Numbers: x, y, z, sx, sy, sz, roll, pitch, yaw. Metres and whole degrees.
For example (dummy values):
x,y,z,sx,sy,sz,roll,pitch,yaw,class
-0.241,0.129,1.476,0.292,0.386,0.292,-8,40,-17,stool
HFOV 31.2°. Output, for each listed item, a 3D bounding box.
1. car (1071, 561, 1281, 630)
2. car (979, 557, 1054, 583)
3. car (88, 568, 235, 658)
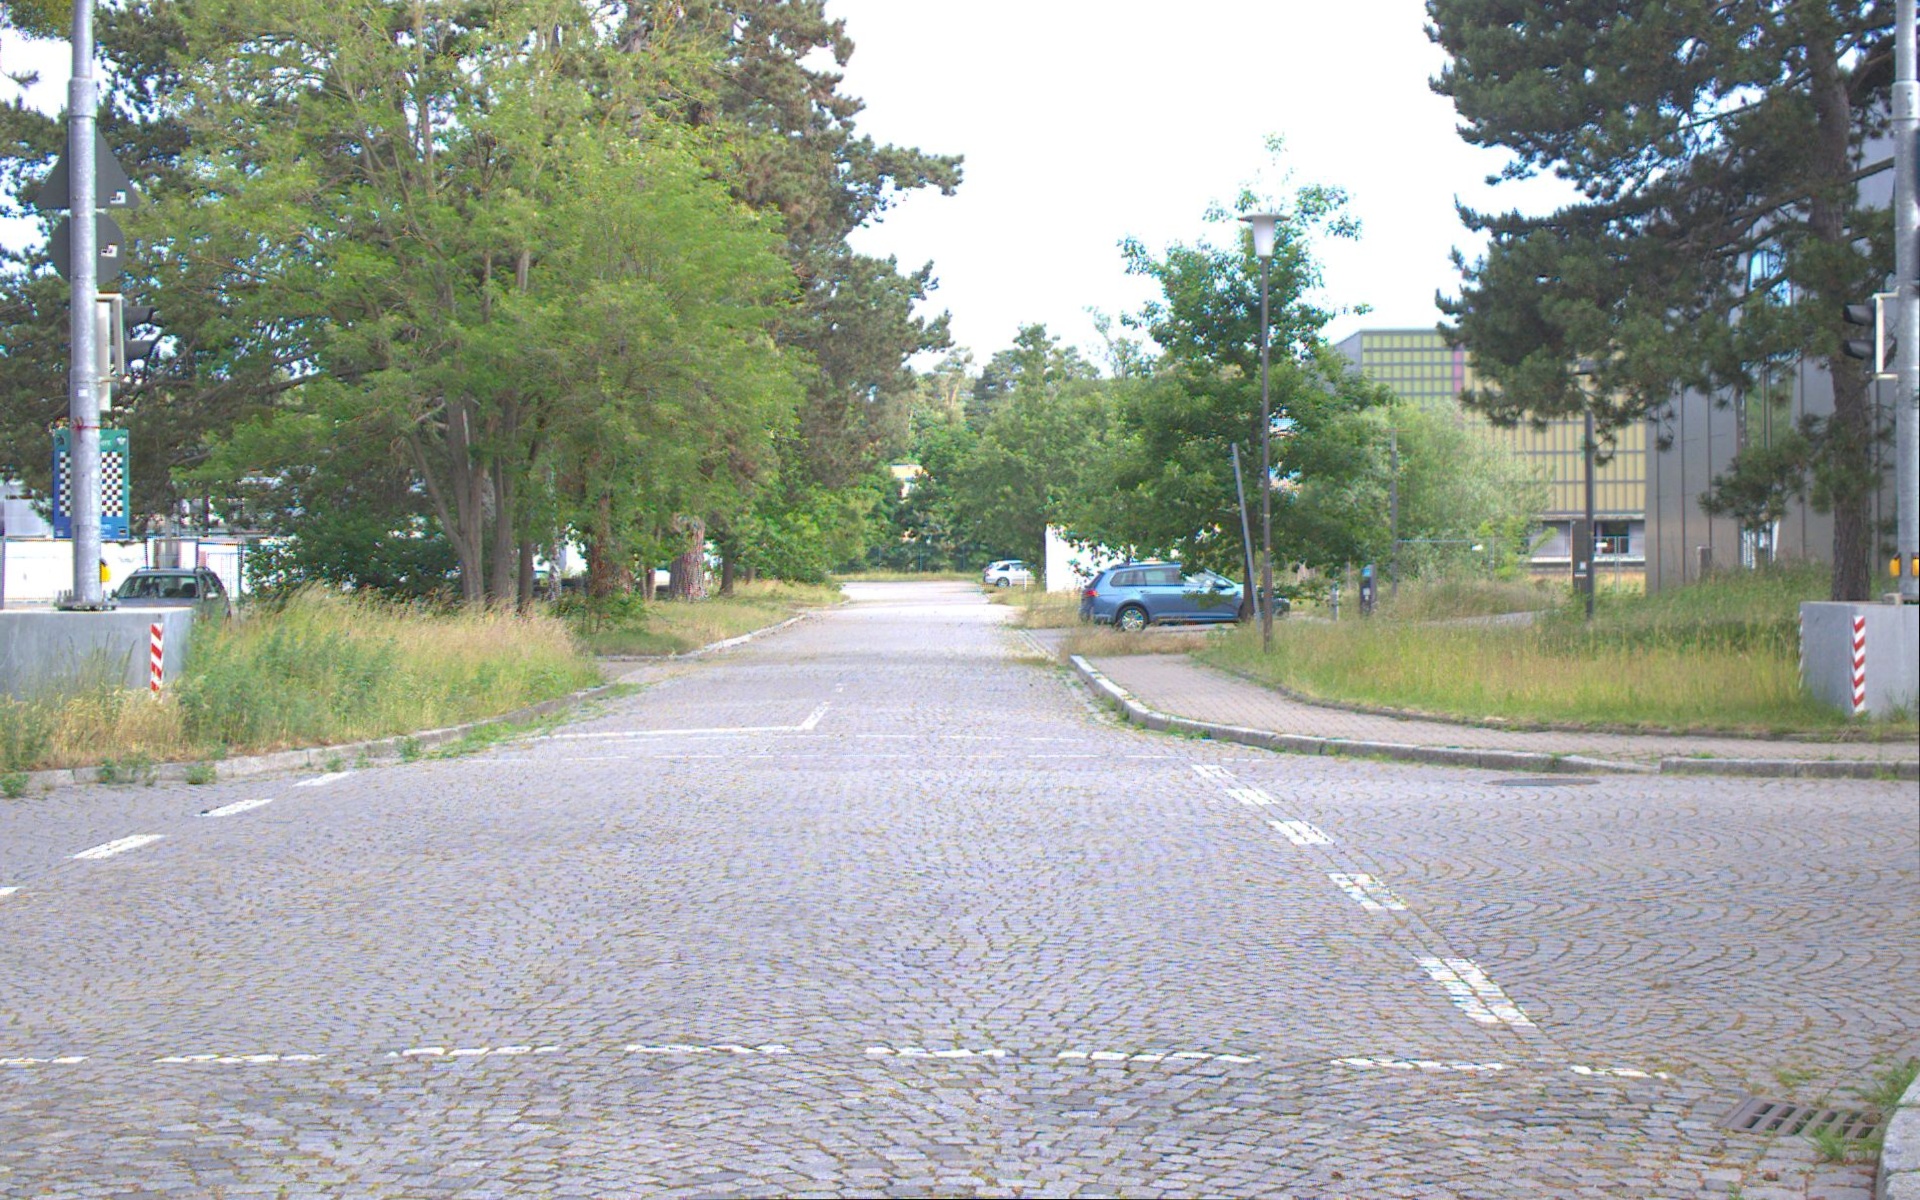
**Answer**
x,y,z,sx,sy,sz,roll,pitch,yaw,class
4.644,-0.113,74.286,4.343,1.417,2.000,-1,1,-2,car
3.125,-1.662,191.366,3.986,1.393,2.000,-1,1,-6,car
-13.765,0.200,59.435,1.613,1.482,4.000,0,1,0,car
